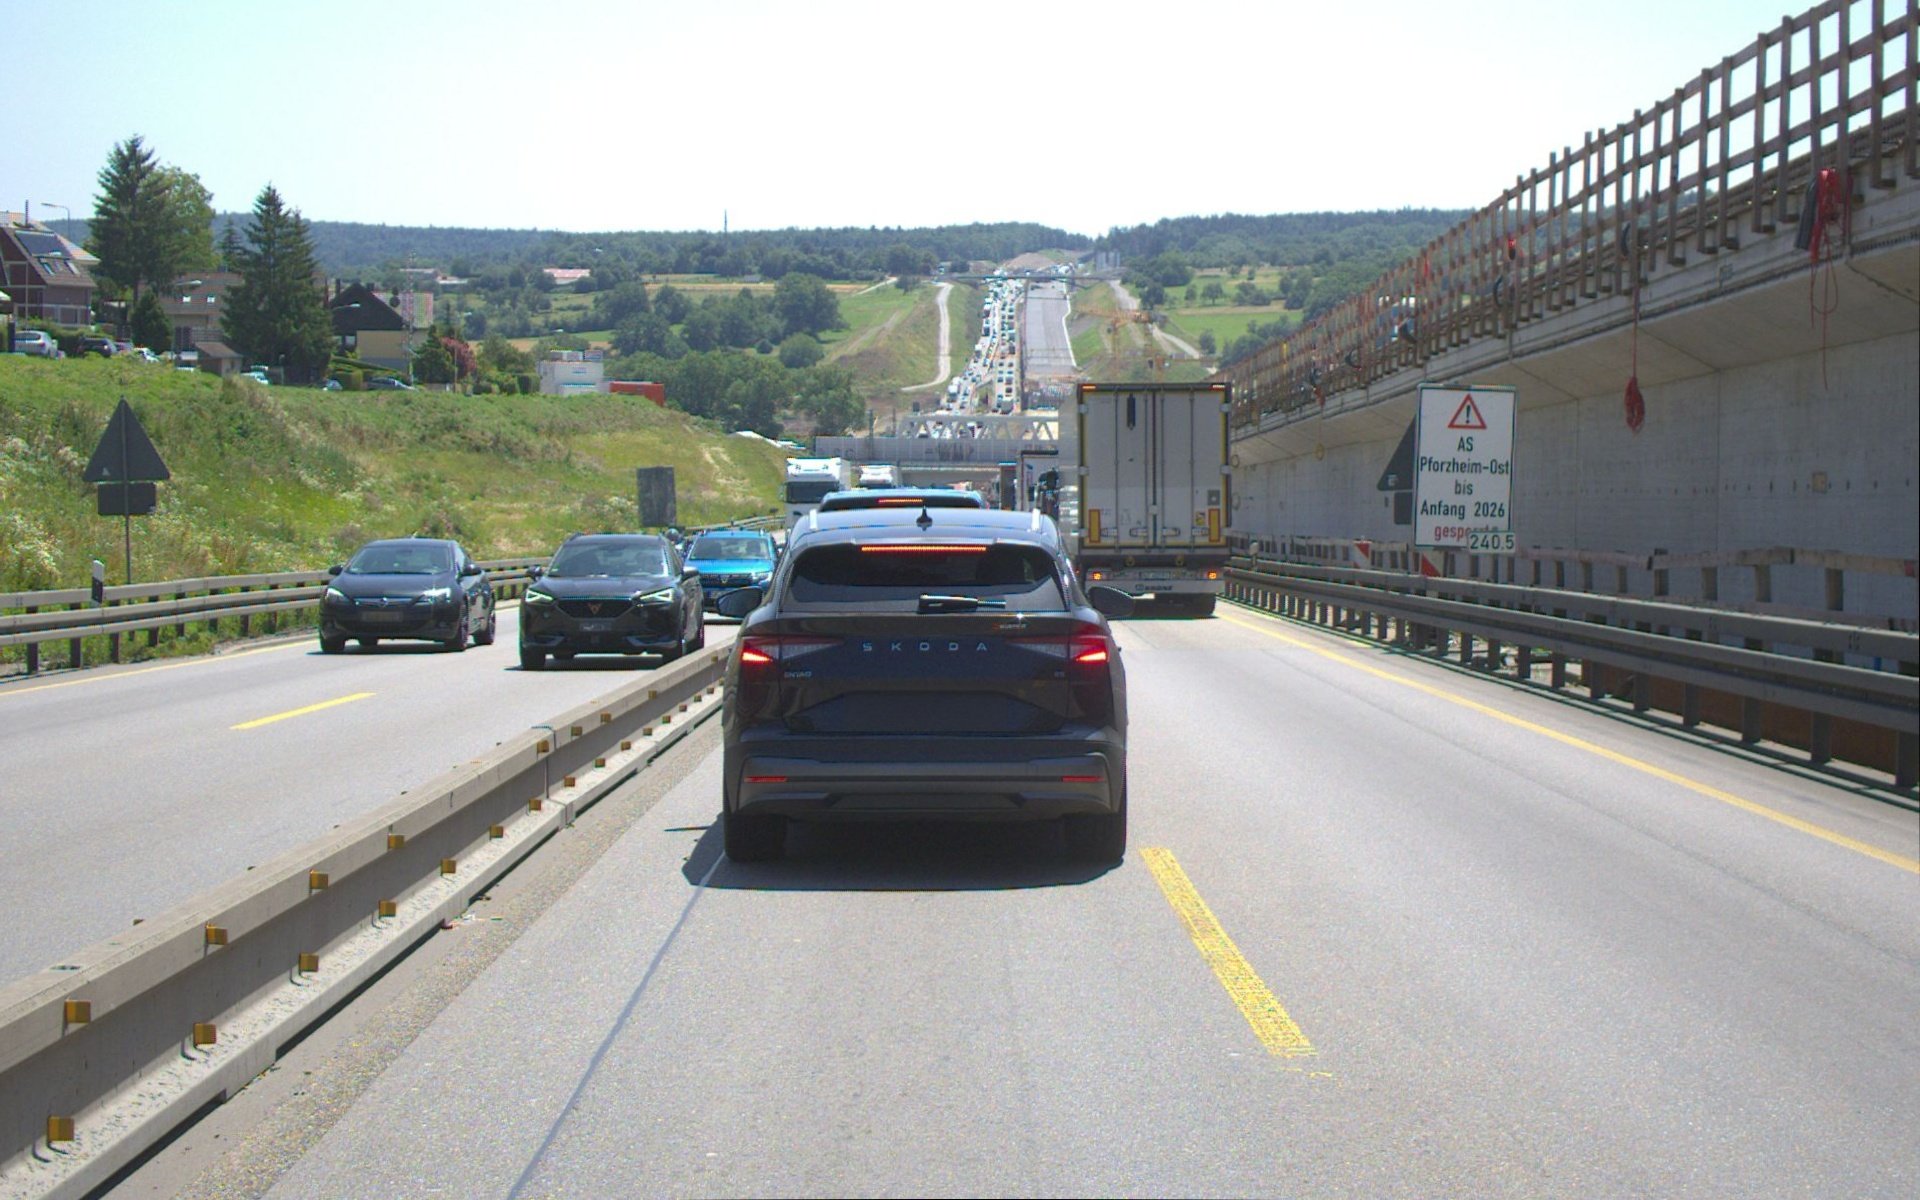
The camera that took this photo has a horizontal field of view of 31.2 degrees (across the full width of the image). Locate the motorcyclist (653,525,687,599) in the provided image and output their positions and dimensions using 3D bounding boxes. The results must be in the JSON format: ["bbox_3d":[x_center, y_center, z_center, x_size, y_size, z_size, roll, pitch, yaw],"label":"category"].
[{"bbox_3d":[-6.198,-0.807,73.442,0.665,1.579,0.736,0,0,0],"label":"motorcyclist"}]

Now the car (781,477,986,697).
[{"bbox_3d":[-0.750,-0.147,32.518,1.749,1.888,3.755,2,1,-2],"label":"car"}]

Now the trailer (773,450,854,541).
[{"bbox_3d":[-7.080,-4.945,164.301,3.220,4.144,13.411,0,1,-5],"label":"trailer"}]

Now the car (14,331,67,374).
[{"bbox_3d":[-41.383,-11.126,154.792,1.924,1.722,4.001,0,1,-10],"label":"car"}]

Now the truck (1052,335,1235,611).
[{"bbox_3d":[3.237,-2.171,63.646,2.846,4.599,11.811,1,0,1],"label":"truck"}]

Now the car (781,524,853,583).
[{"bbox_3d":[-3.636,-1.214,88.087,1.766,1.481,3.866,0,1,-1],"label":"car"}]

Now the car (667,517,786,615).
[{"bbox_3d":[-3.921,-0.603,58.179,1.763,1.604,3.892,0,1,0],"label":"car"}]

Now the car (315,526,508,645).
[{"bbox_3d":[-7.230,-0.207,45.766,1.813,1.443,5.007,2,0,-1],"label":"car"}]

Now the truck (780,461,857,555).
[{"bbox_3d":[-6.543,-4.188,158.512,3.180,4.223,6.486,0,0,-6],"label":"truck"}]

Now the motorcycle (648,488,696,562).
[{"bbox_3d":[-6.158,-1.623,73.565,0.790,1.546,2.621,1,2,0],"label":"motorcycle"}]

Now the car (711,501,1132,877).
[{"bbox_3d":[-0.189,0.344,16.441,1.782,1.592,3.755,0,1,-1],"label":"car"}]

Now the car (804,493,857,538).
[{"bbox_3d":[-4.263,-2.782,113.428,1.691,1.481,3.750,0,1,-1],"label":"car"}]

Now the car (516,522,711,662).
[{"bbox_3d":[-3.950,-0.102,39.784,1.842,1.525,4.294,0,0,0],"label":"car"}]
